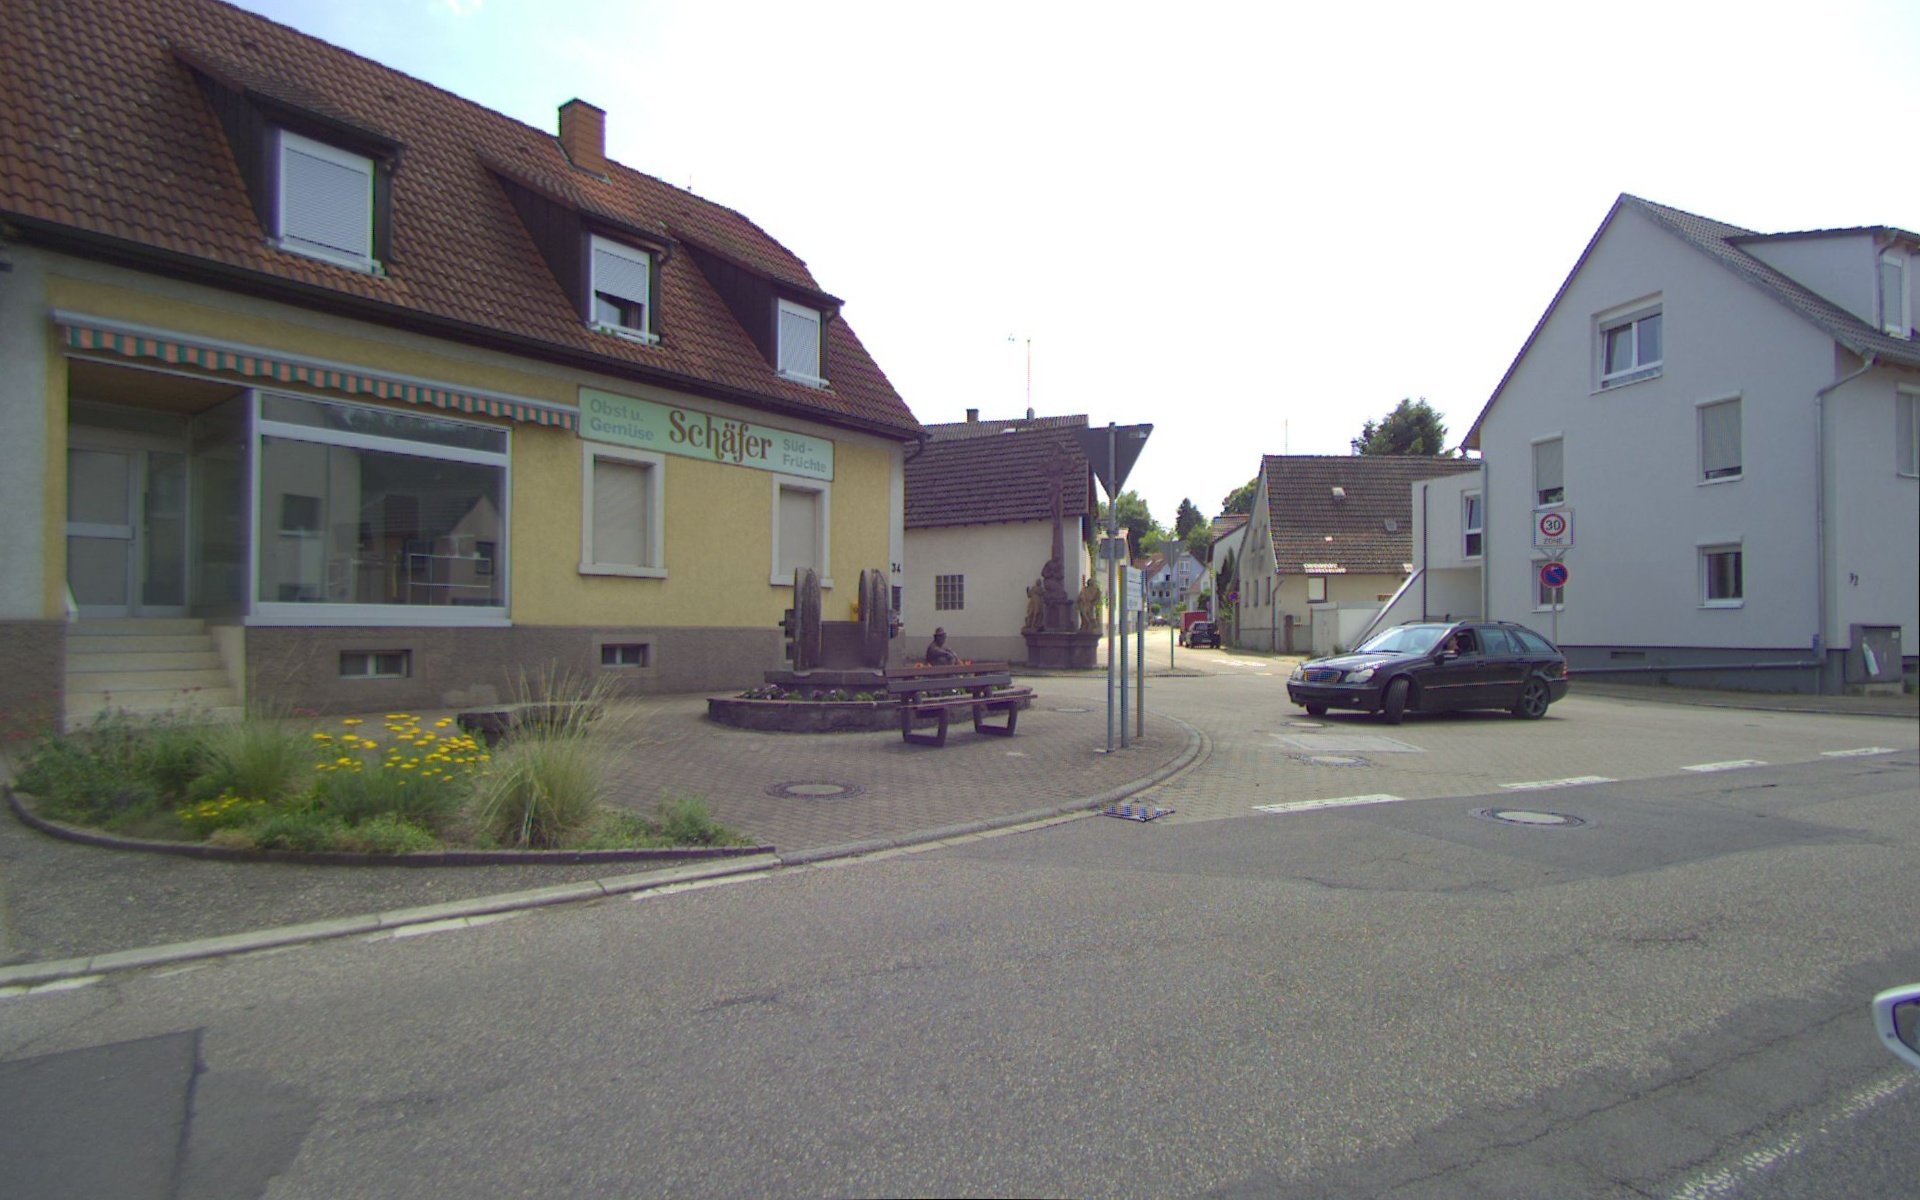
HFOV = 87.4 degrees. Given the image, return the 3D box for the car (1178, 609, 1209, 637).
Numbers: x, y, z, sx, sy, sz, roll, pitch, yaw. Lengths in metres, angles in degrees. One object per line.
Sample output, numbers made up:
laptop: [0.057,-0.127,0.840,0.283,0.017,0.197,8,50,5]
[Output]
car: [14.324,1.439,61.788,1.369,1.656,3.479,2,-2,6]

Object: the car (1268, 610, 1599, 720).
car: [7.010,0.969,14.867,4.568,1.430,1.805,3,-2,-22]

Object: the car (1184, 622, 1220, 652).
car: [13.535,2.066,56.298,1.461,1.550,3.479,2,-2,6]
